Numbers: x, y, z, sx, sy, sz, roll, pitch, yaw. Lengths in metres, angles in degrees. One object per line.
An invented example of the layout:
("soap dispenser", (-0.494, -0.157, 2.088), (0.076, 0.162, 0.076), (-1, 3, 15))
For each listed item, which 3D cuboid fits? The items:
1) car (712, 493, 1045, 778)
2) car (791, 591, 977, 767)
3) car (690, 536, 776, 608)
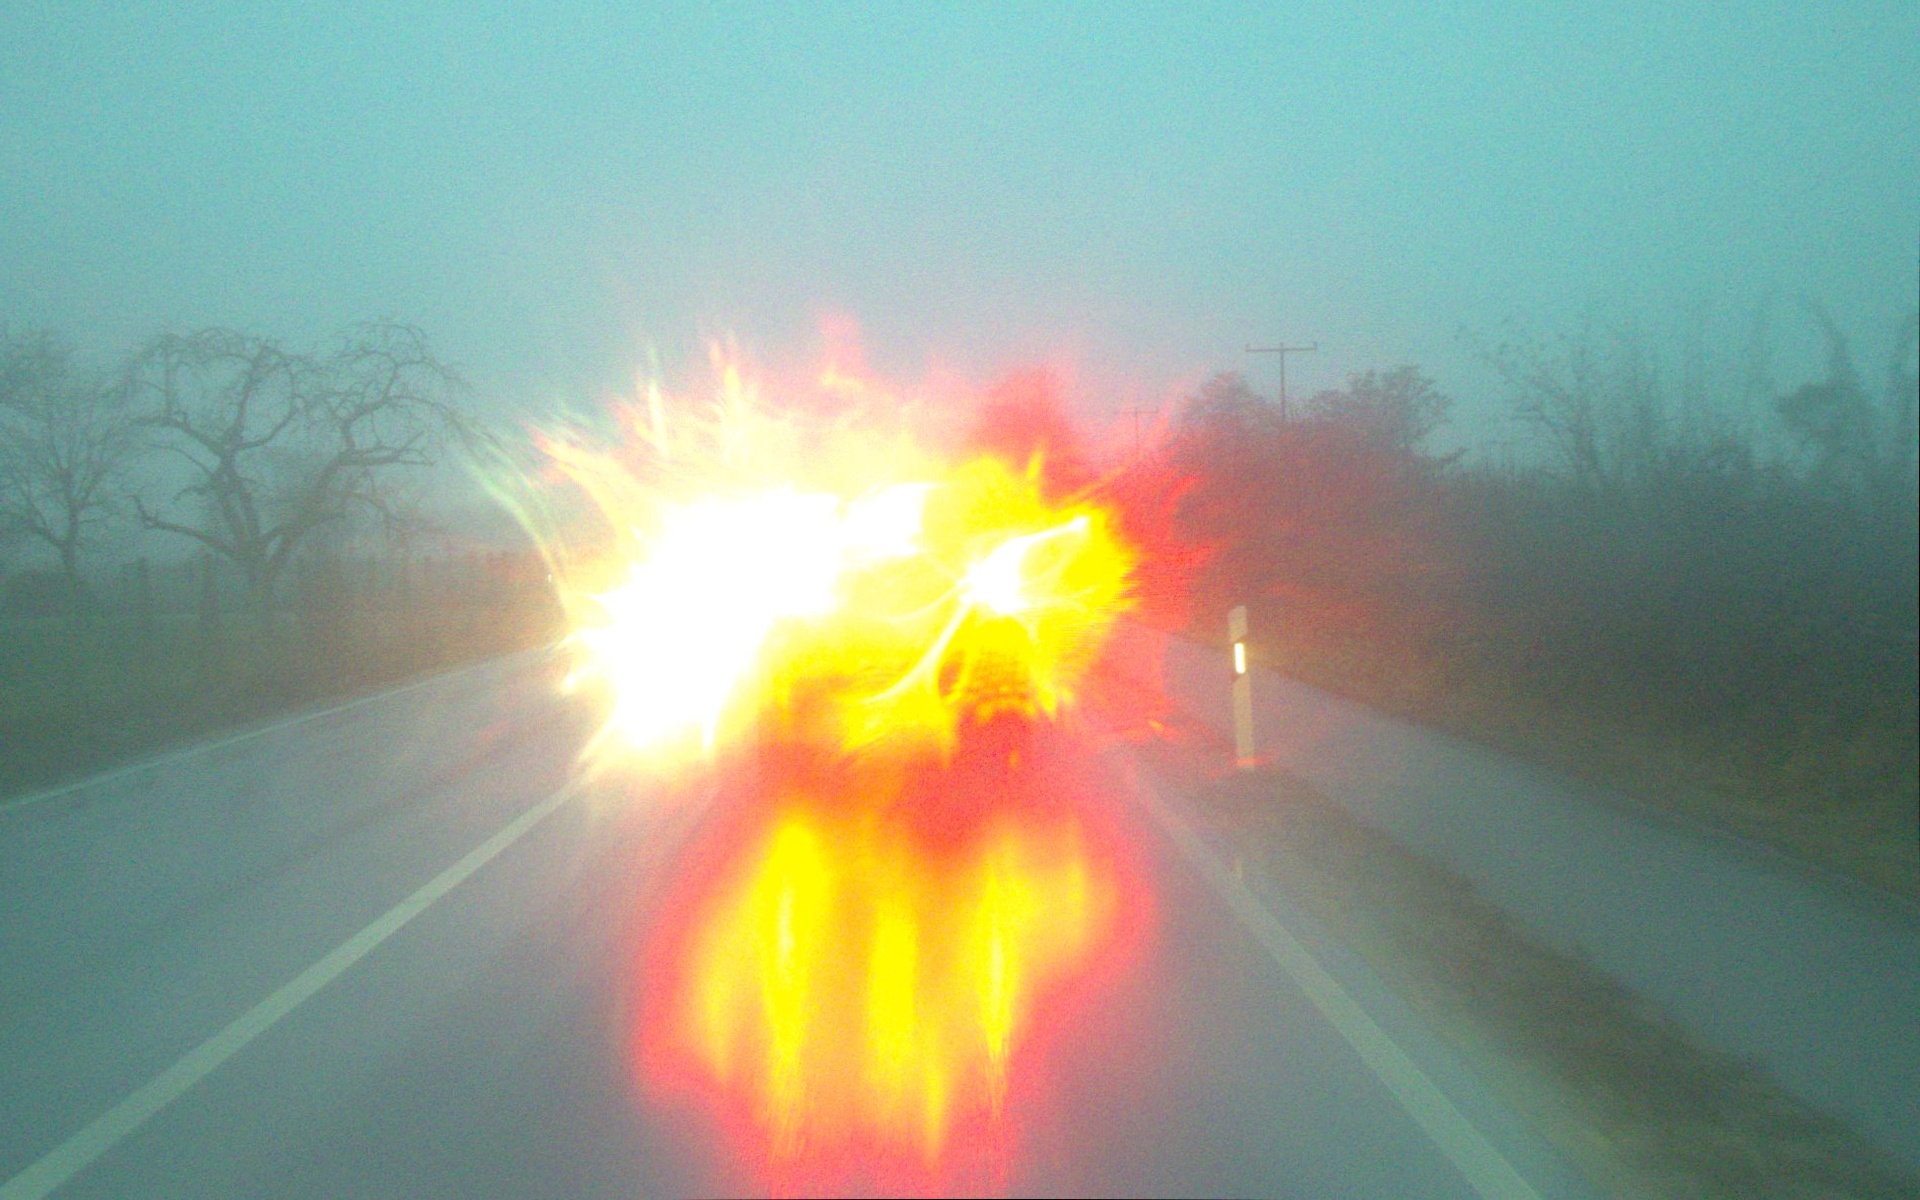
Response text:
("car", (-0.546, 0.176, 24.422), (2.120, 1.813, 4.980), (0, 1, -1))
("car", (-0.841, 0.849, 39.269), (1.993, 1.843, 4.000), (1, 1, 0))
("car", (-5.156, -0.669, 78.573), (1.855, 1.512, 4.517), (-2, 1, -3))
